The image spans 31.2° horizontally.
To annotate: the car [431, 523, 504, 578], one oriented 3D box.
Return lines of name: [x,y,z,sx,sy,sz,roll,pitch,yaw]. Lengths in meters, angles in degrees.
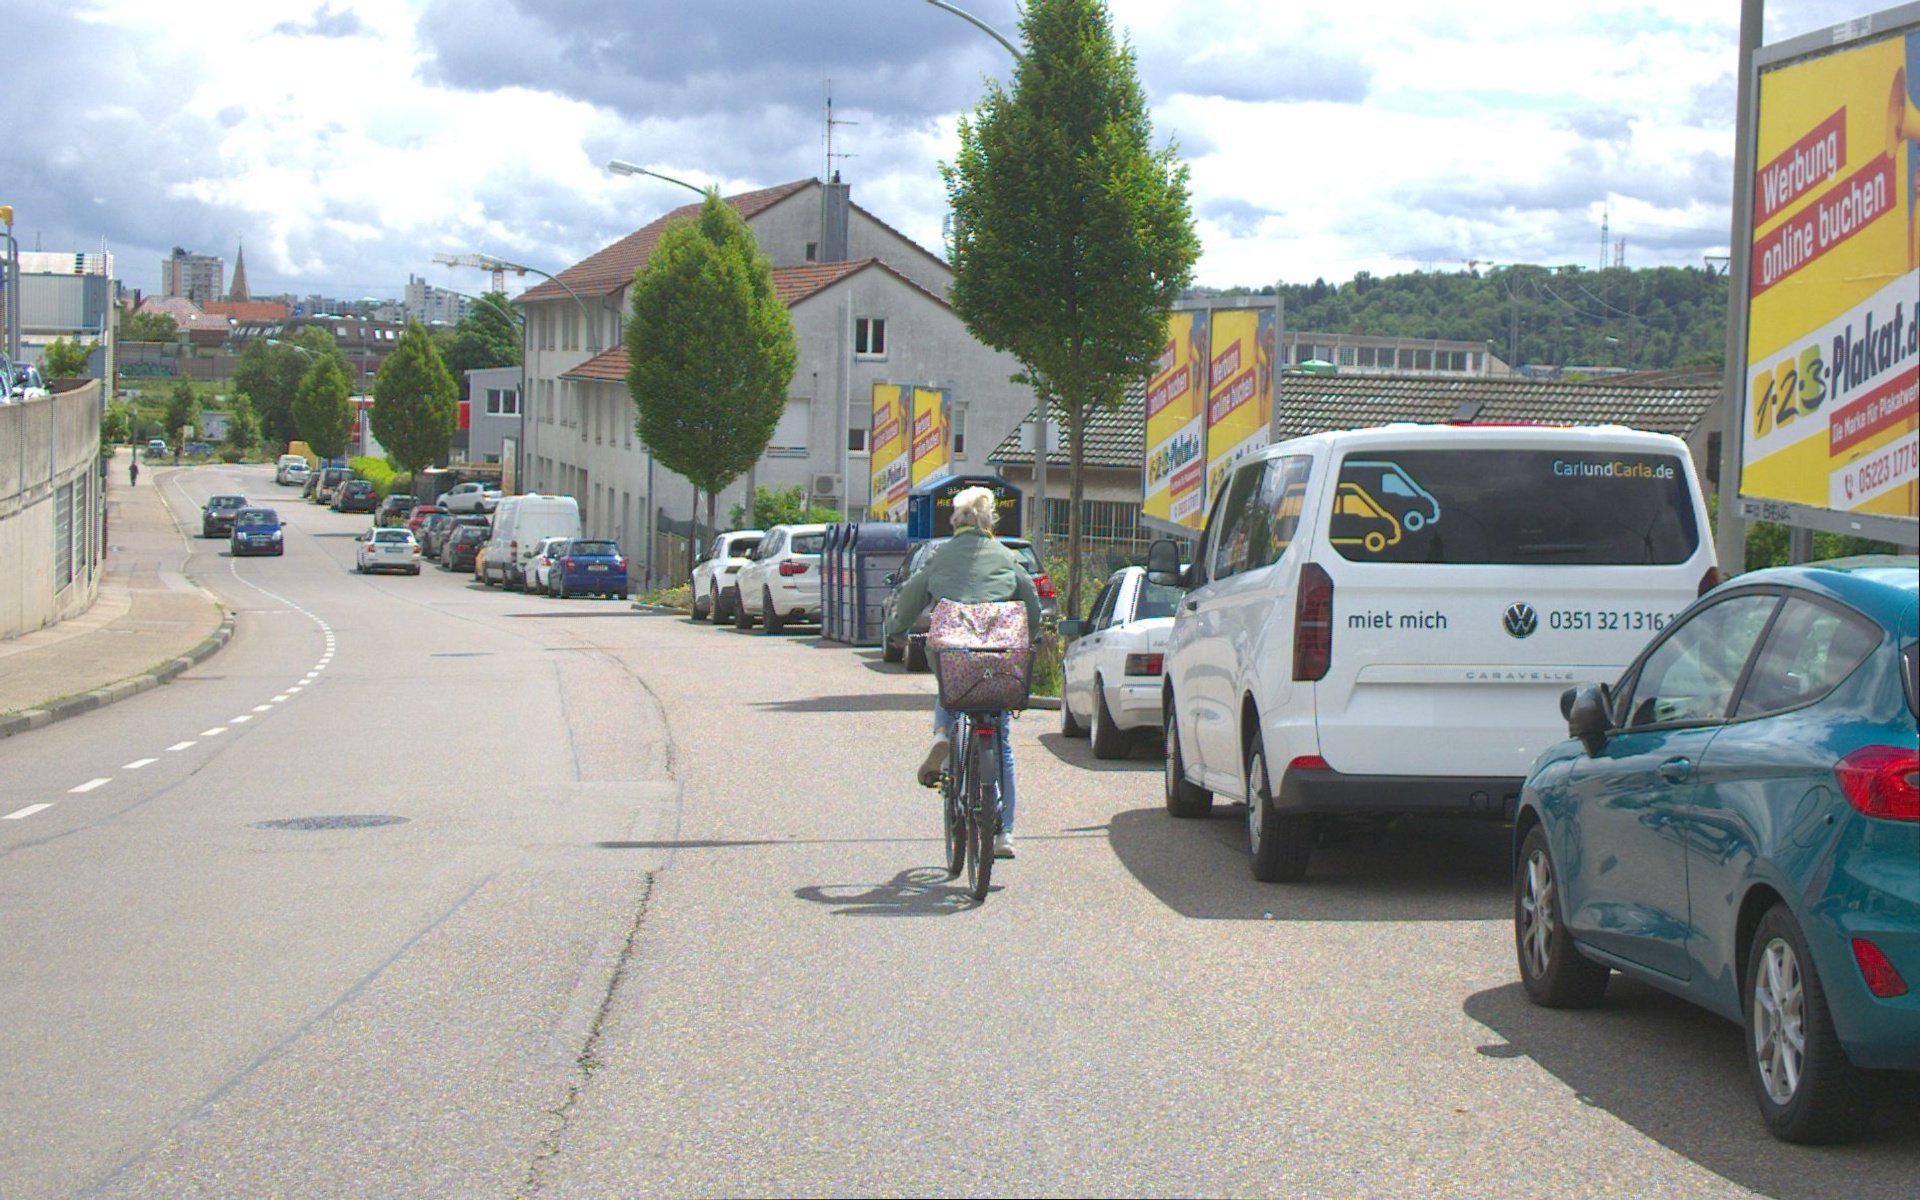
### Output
car: [-16.074,-1.635,111.996,1.704,1.504,5.090,3,3,-15]

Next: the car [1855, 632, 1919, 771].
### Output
car: [12.494,1.191,39.624,3.992,1.535,1.786,1,1,23]

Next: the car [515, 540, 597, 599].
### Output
car: [-10.638,-0.803,90.314,1.592,1.505,3.791,1,1,-15]

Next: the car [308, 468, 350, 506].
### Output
car: [-34.036,-6.106,185.352,1.868,1.983,5.146,1,2,-14]

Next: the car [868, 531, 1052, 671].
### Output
car: [-0.052,-0.021,39.143,1.655,1.480,4.045,-1,1,-6]

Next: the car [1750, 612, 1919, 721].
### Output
car: [14.001,0.999,51.692,3.988,1.553,1.822,1,1,8]

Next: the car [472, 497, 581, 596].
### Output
car: [-12.171,-1.490,96.138,2.032,2.632,7.285,1,1,-15]

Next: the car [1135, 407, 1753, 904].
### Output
car: [2.118,0.181,16.793,1.975,1.997,5.548,1,1,-2]

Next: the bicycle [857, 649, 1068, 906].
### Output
bicycle: [-0.014,0.727,14.699,0.740,0.972,1.733,1,1,-5]

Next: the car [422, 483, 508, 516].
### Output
car: [-23.865,-4.842,165.834,4.070,1.457,1.721,1,4,38]

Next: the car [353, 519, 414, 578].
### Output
car: [-17.835,-1.586,106.222,1.566,1.780,3.607,1,1,-14]

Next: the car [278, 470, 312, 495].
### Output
car: [-44.169,-7.808,228.300,1.700,1.522,3.739,3,2,-18]

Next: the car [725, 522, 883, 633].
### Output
car: [-2.487,-0.369,53.804,1.685,1.653,4.481,0,1,-13]

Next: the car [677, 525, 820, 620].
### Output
car: [-3.711,-0.491,59.627,1.841,1.560,4.467,-1,1,-11]

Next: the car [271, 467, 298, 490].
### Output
car: [-46.920,-8.464,238.812,1.700,1.522,3.739,1,2,-12]

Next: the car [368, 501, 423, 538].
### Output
car: [-23.821,-3.412,144.987,1.790,1.460,4.710,1,2,-15]

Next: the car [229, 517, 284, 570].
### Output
car: [-24.505,-1.969,119.678,1.626,1.811,3.781,-1,1,-16]

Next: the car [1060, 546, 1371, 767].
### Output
car: [1.704,0.332,24.214,1.637,1.382,4.205,1,1,-3]

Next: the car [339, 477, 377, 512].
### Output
car: [-29.933,-5.252,170.844,1.679,1.632,4.124,1,2,-12]

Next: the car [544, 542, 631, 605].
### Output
car: [-9.271,-0.678,85.332,1.566,1.505,4.095,1,1,-14]

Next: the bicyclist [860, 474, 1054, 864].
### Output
bicyclist: [-0.021,0.287,14.739,0.739,1.621,0.732,1,0,-6]

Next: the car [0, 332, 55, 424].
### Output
car: [-19.255,-4.448,69.223,1.805,1.631,4.106,1,1,-12]

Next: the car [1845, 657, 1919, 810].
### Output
car: [11.198,1.383,35.046,3.992,1.481,1.811,1,1,23]

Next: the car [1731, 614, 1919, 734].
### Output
car: [12.984,1.011,47.189,4.447,1.549,2.000,1,1,6]

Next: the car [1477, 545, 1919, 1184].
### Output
car: [2.688,0.582,9.841,1.593,1.445,3.980,1,1,-3]
